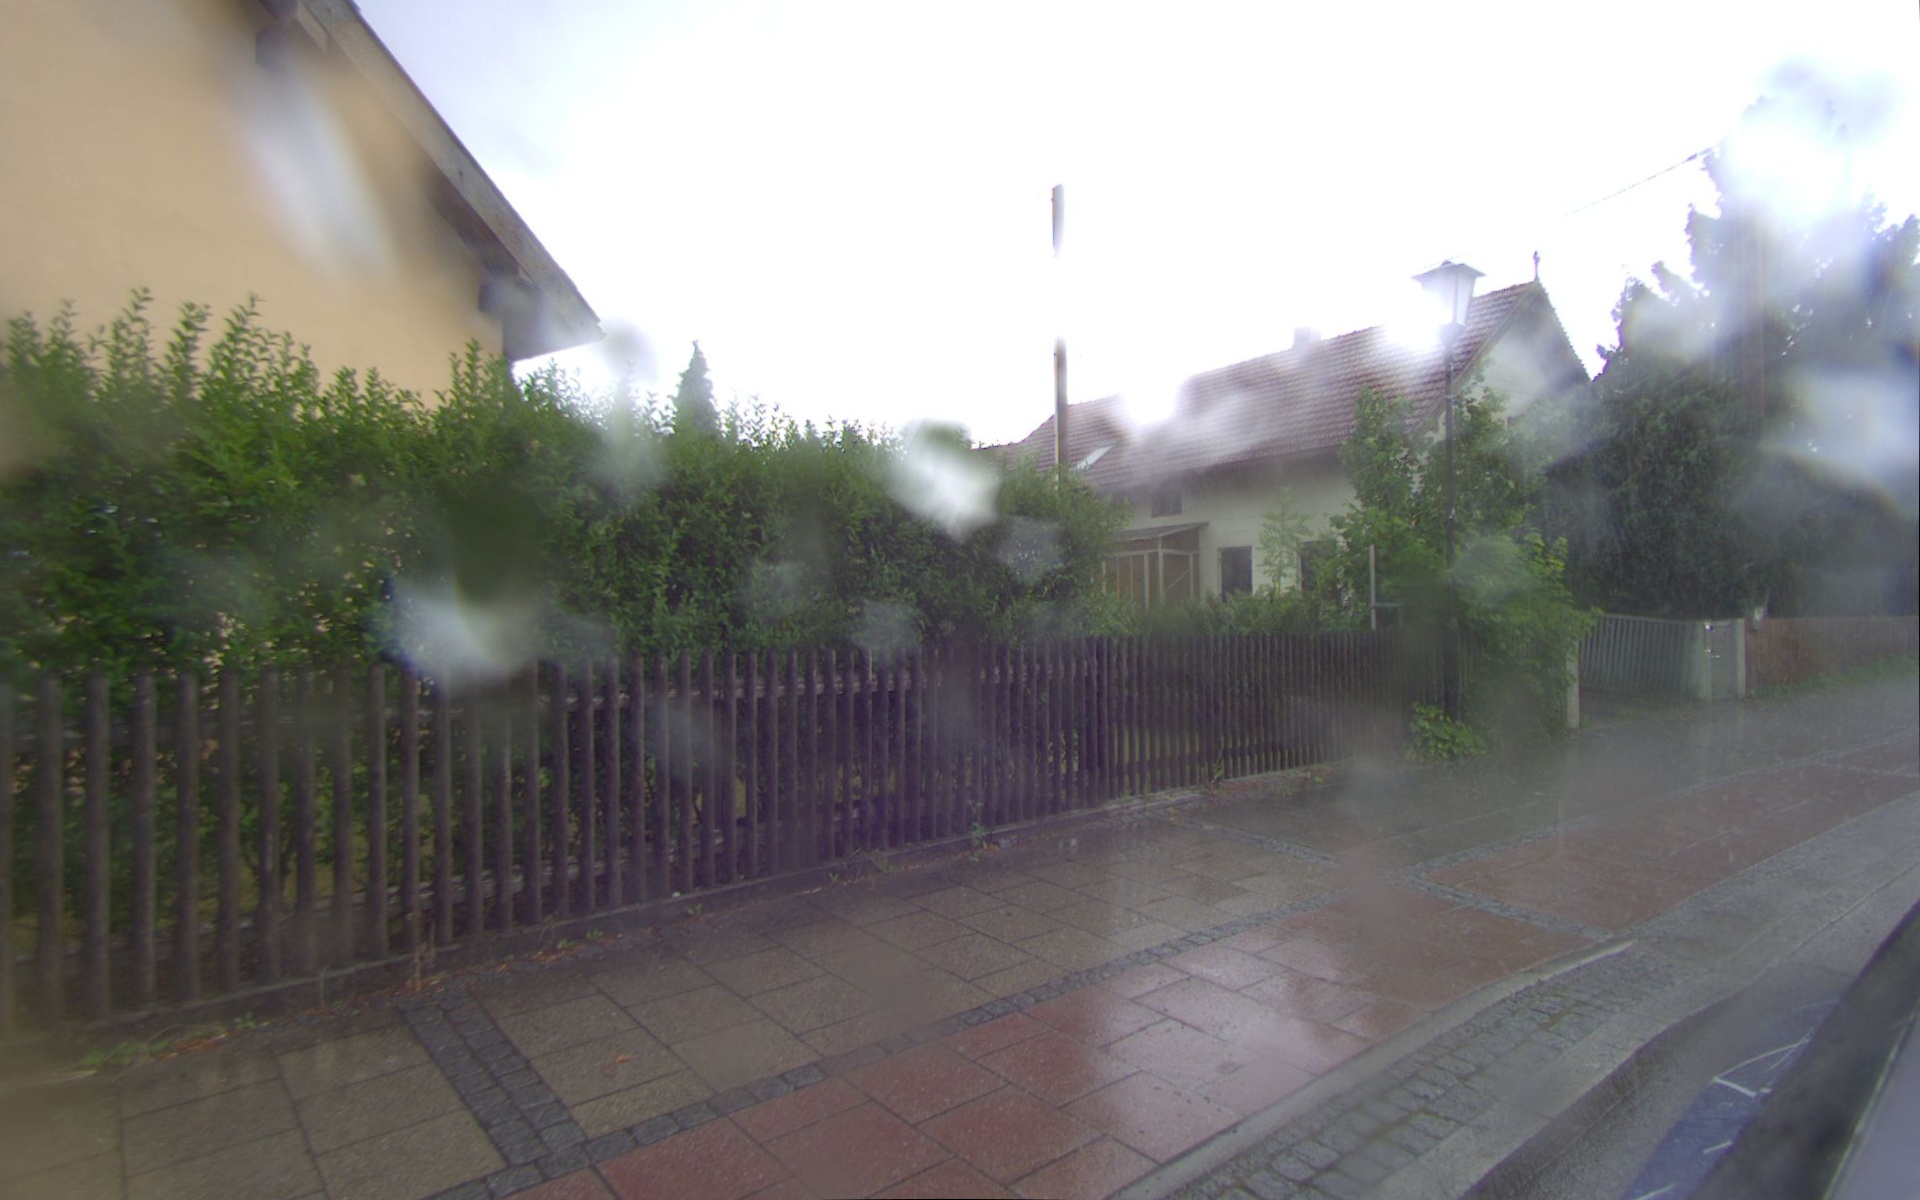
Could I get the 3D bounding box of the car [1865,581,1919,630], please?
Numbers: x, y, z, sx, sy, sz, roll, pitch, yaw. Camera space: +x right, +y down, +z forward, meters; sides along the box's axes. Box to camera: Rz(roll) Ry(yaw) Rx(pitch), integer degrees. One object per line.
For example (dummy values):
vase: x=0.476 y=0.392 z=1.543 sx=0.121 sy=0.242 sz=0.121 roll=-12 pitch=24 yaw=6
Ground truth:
car: x=29.940 y=0.220 z=29.982 sx=1.799 sy=1.438 sz=4.438 roll=-1 pitch=3 yaw=-41

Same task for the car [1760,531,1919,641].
car: x=24.441 y=-0.377 z=26.416 sx=1.966 sy=2.761 sz=5.311 roll=-1 pitch=2 yaw=-43
